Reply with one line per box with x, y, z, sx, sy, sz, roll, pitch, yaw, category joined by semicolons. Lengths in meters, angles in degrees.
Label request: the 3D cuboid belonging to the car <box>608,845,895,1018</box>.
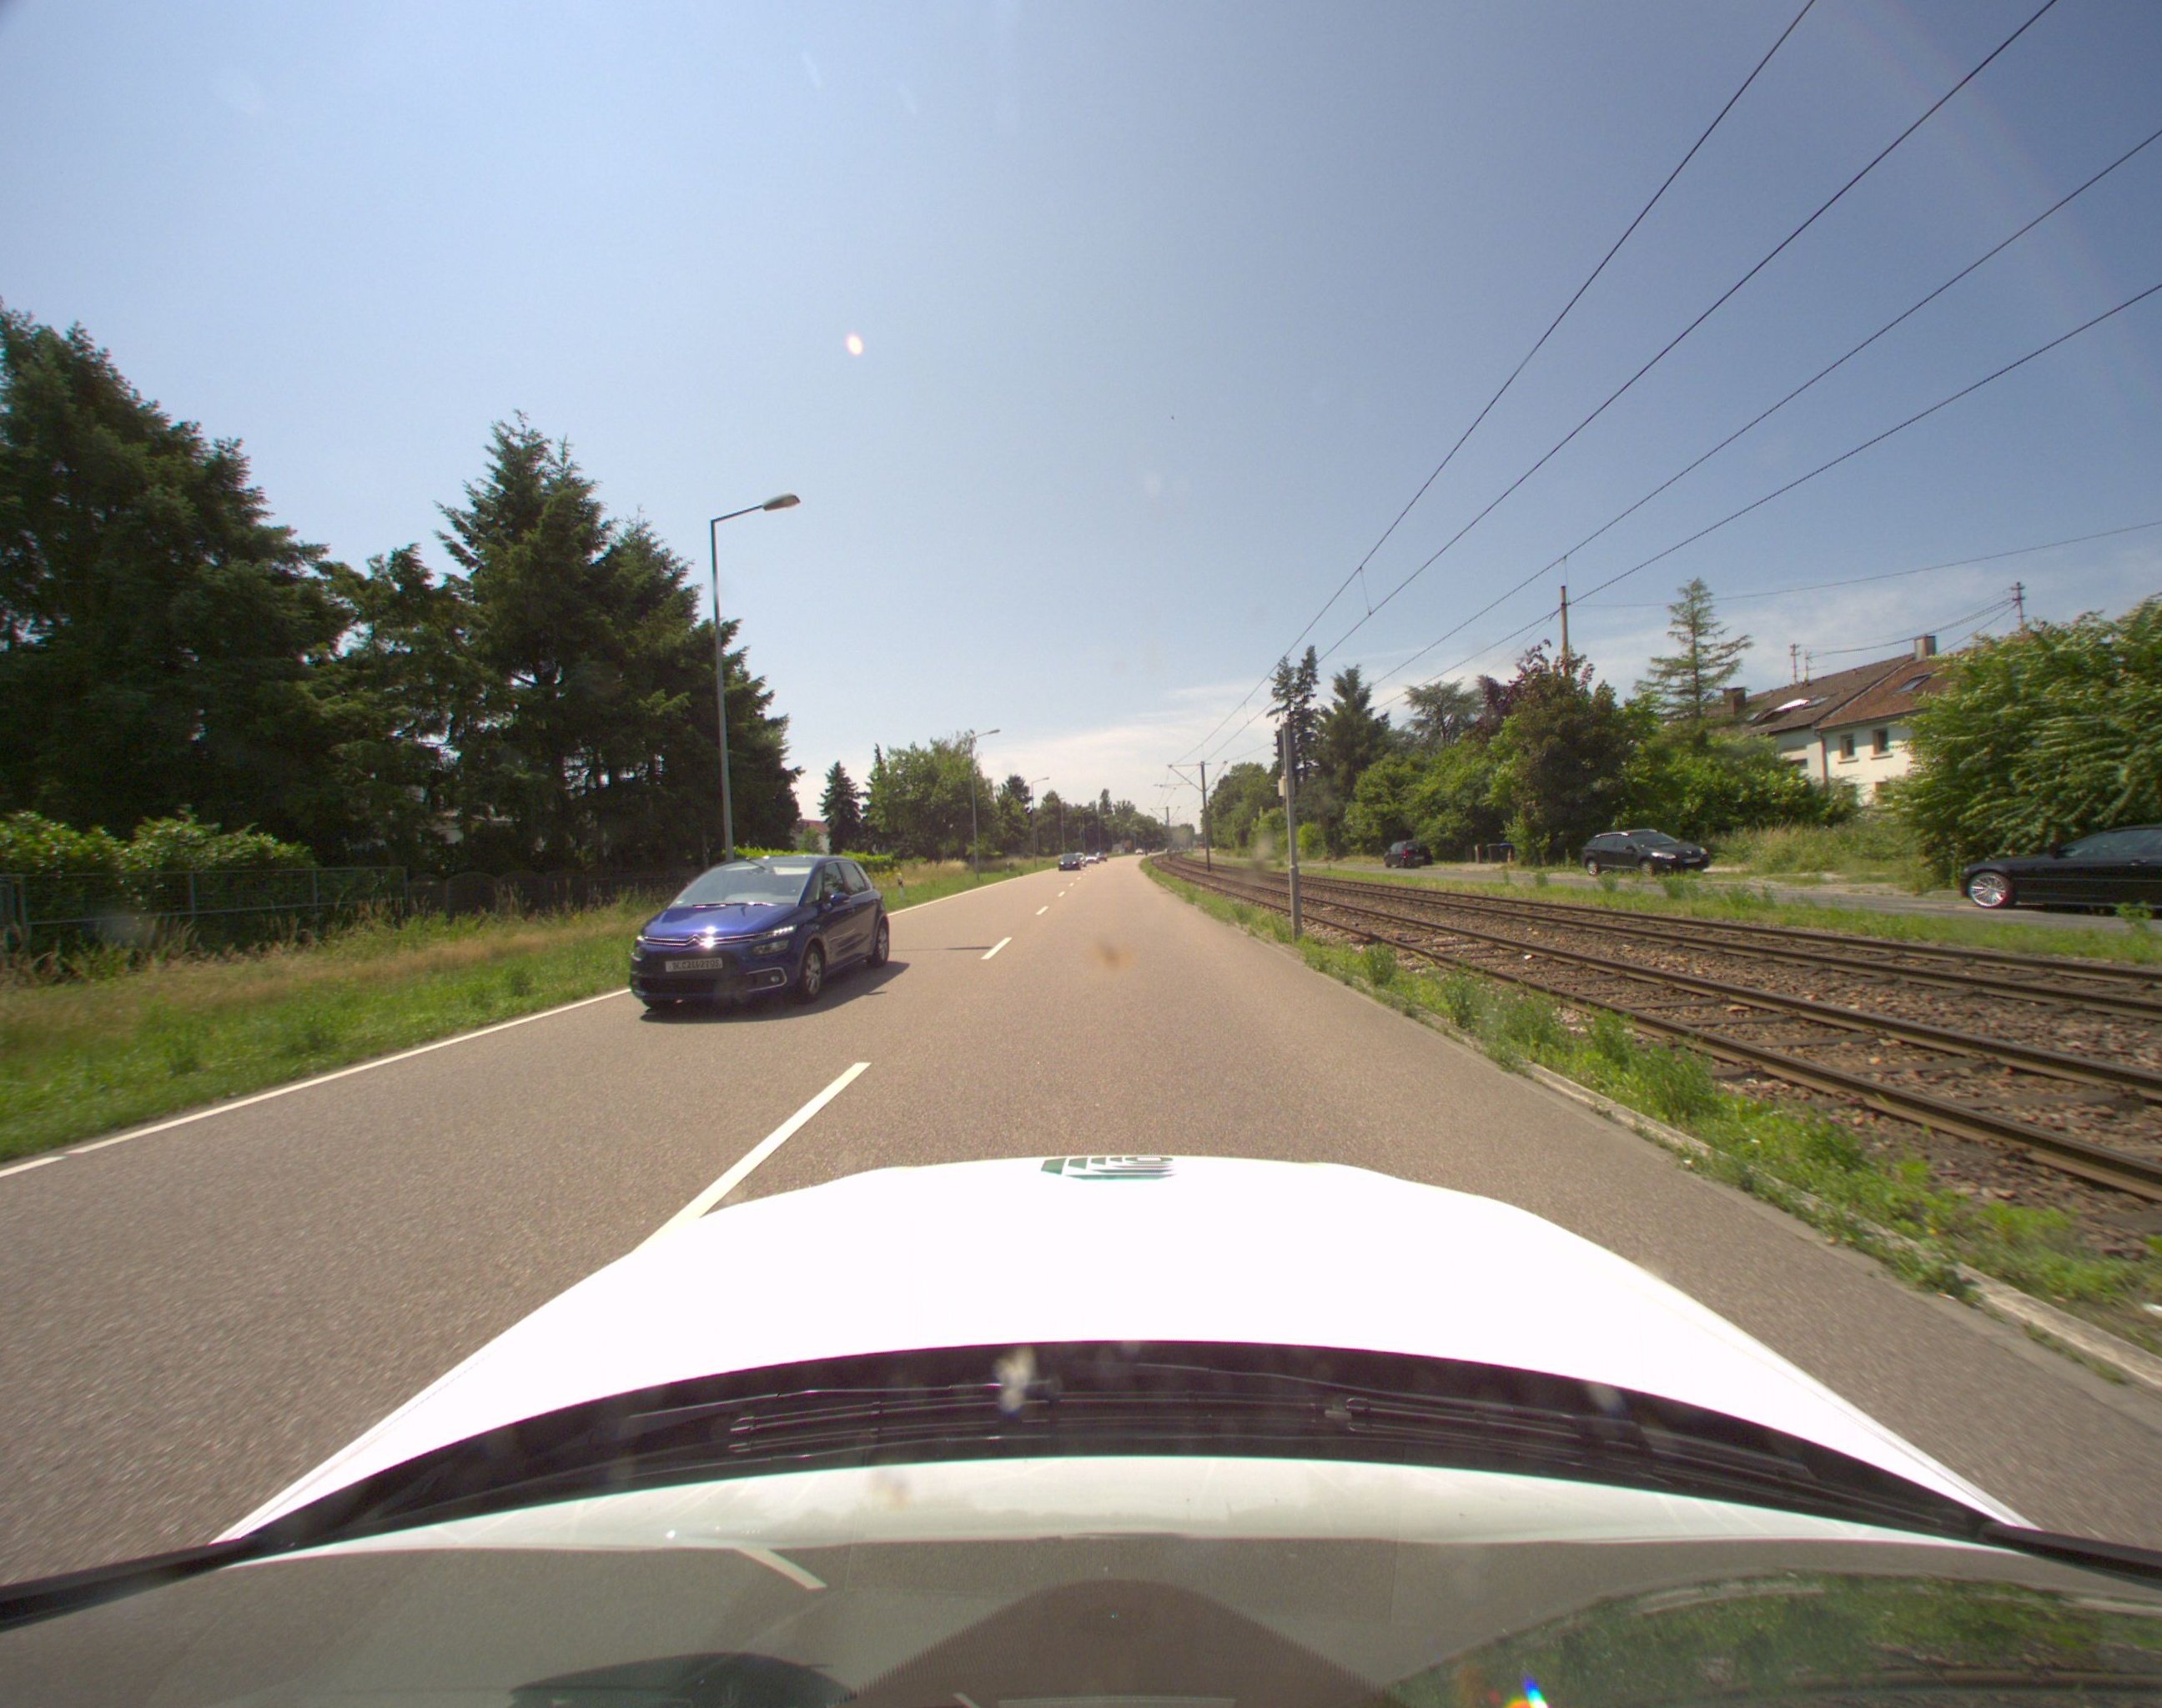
-3.692;0.763;10.006;1.740;1.632;4.031;-2;0;1;car

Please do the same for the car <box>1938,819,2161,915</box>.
15.953;0.155;12.011;1.855;1.330;4.514;-2;0;0;car

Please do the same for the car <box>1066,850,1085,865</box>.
-0.587;0.400;88.840;1.740;1.503;3.709;-2;0;2;car

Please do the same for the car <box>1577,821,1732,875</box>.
18.899;-0.174;27.134;1.928;1.561;4.555;-2;0;0;car

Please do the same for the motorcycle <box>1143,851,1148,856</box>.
16.382;-0.076;207.254;0.965;1.117;2.738;-2;0;7;motorcycle

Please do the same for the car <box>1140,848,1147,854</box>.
18.463;-0.890;239.841;1.926;1.796;4.719;-2;0;5;car

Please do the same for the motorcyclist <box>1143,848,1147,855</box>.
16.330;-0.614;207.047;0.887;1.905;1.017;-2;0;6;motorcyclist

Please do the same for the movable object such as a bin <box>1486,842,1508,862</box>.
20.440;-0.094;40.039;0.721;0.937;0.621;-2;0;2;movable object such as a bin

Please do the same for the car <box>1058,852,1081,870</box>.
-1.010;0.589;71.746;1.694;1.491;4.443;-2;0;2;car

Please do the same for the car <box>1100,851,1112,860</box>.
3.961;0.283;127.572;1.742;1.301;4.256;-2;0;3;car

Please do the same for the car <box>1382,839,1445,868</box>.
18.241;-0.034;44.858;1.906;1.470;4.002;-2;0;2;car

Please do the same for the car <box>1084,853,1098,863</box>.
1.395;0.468;108.828;1.675;1.249;3.912;-2;0;3;car
